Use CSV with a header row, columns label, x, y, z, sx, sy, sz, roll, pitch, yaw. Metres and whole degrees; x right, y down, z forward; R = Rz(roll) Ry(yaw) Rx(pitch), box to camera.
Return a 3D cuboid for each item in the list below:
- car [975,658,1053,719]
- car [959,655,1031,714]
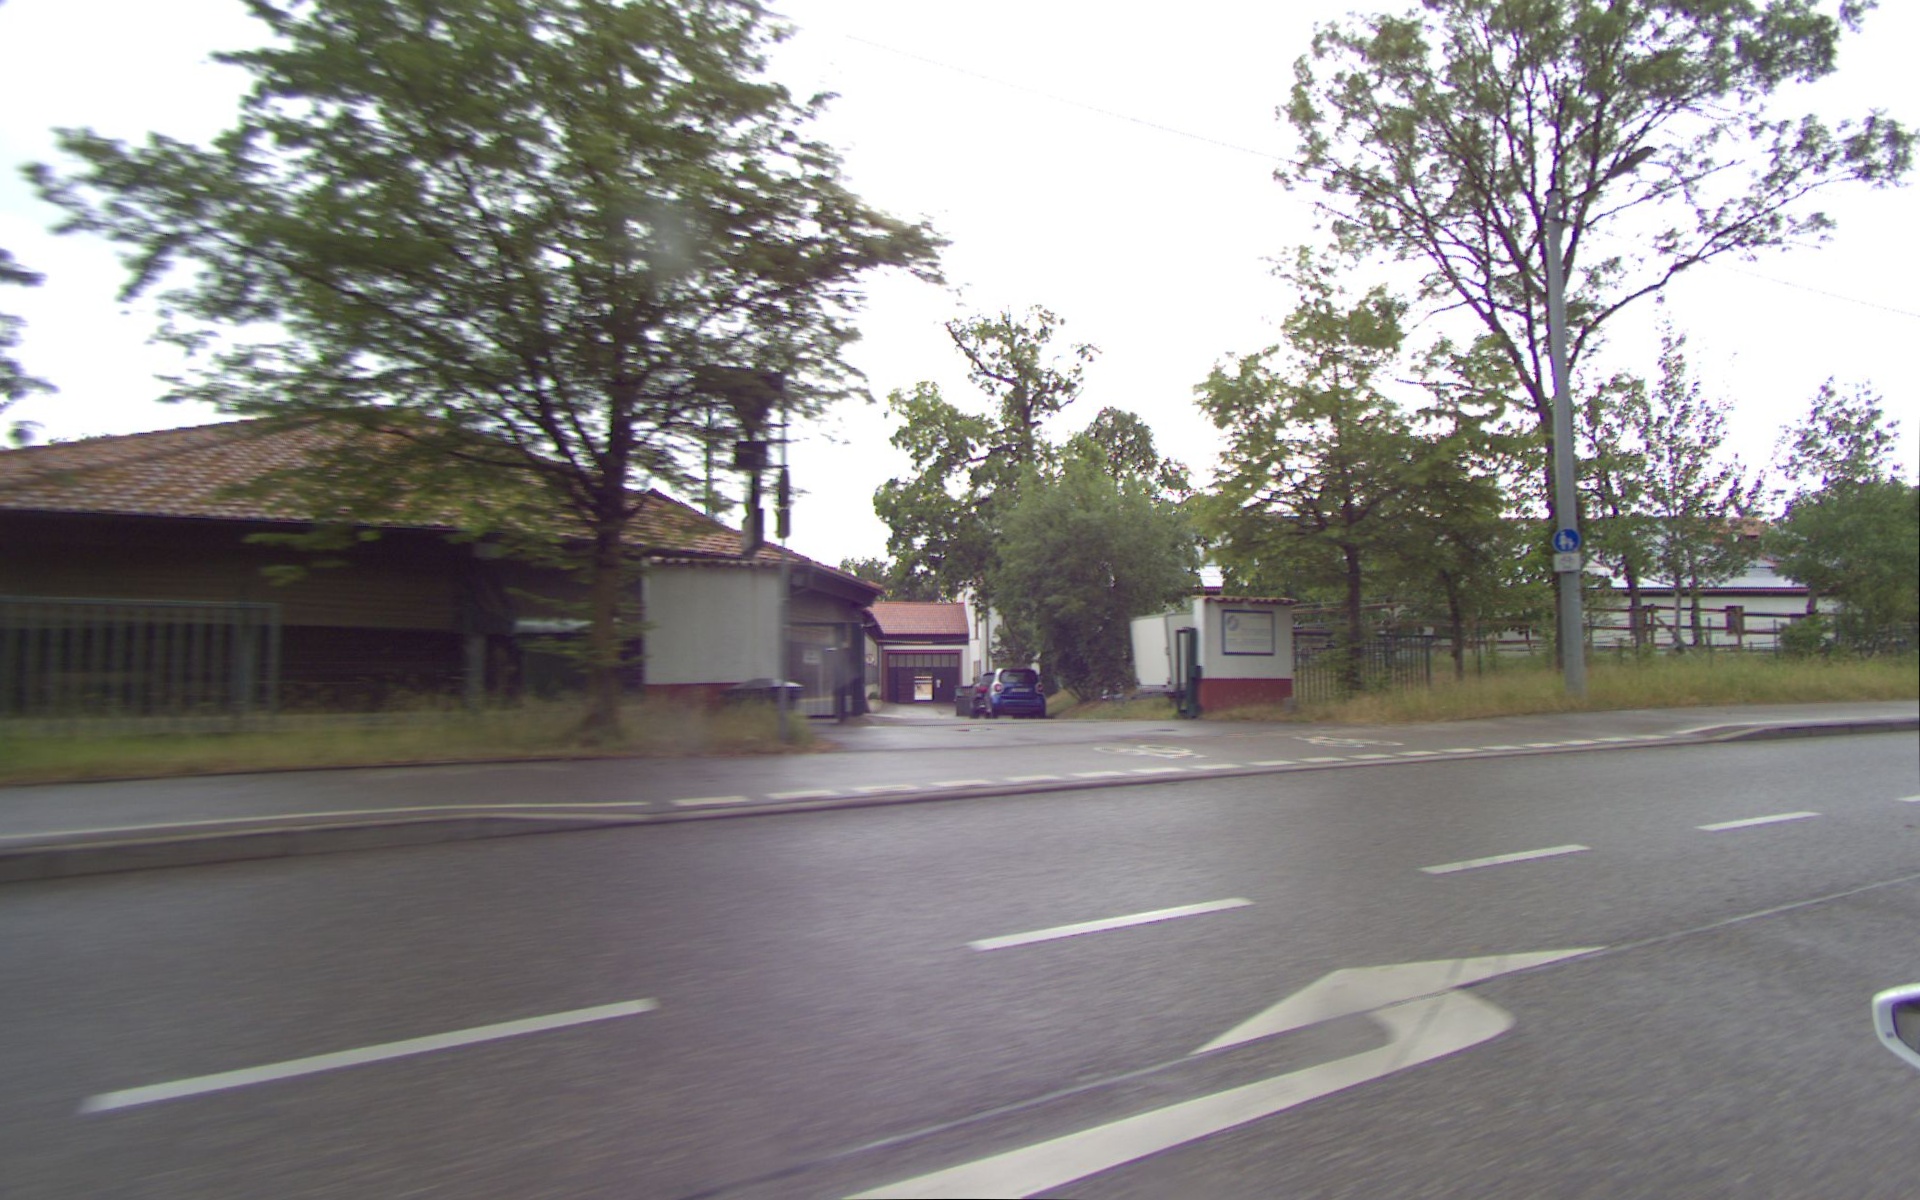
label,x,y,z,sx,sy,sz,roll,pitch,yaw
car,1.621,2.704,31.271,1.896,1.733,3.999,1,-3,-5
car,1.168,2.914,35.585,1.920,1.839,4.263,-3,-3,-5
